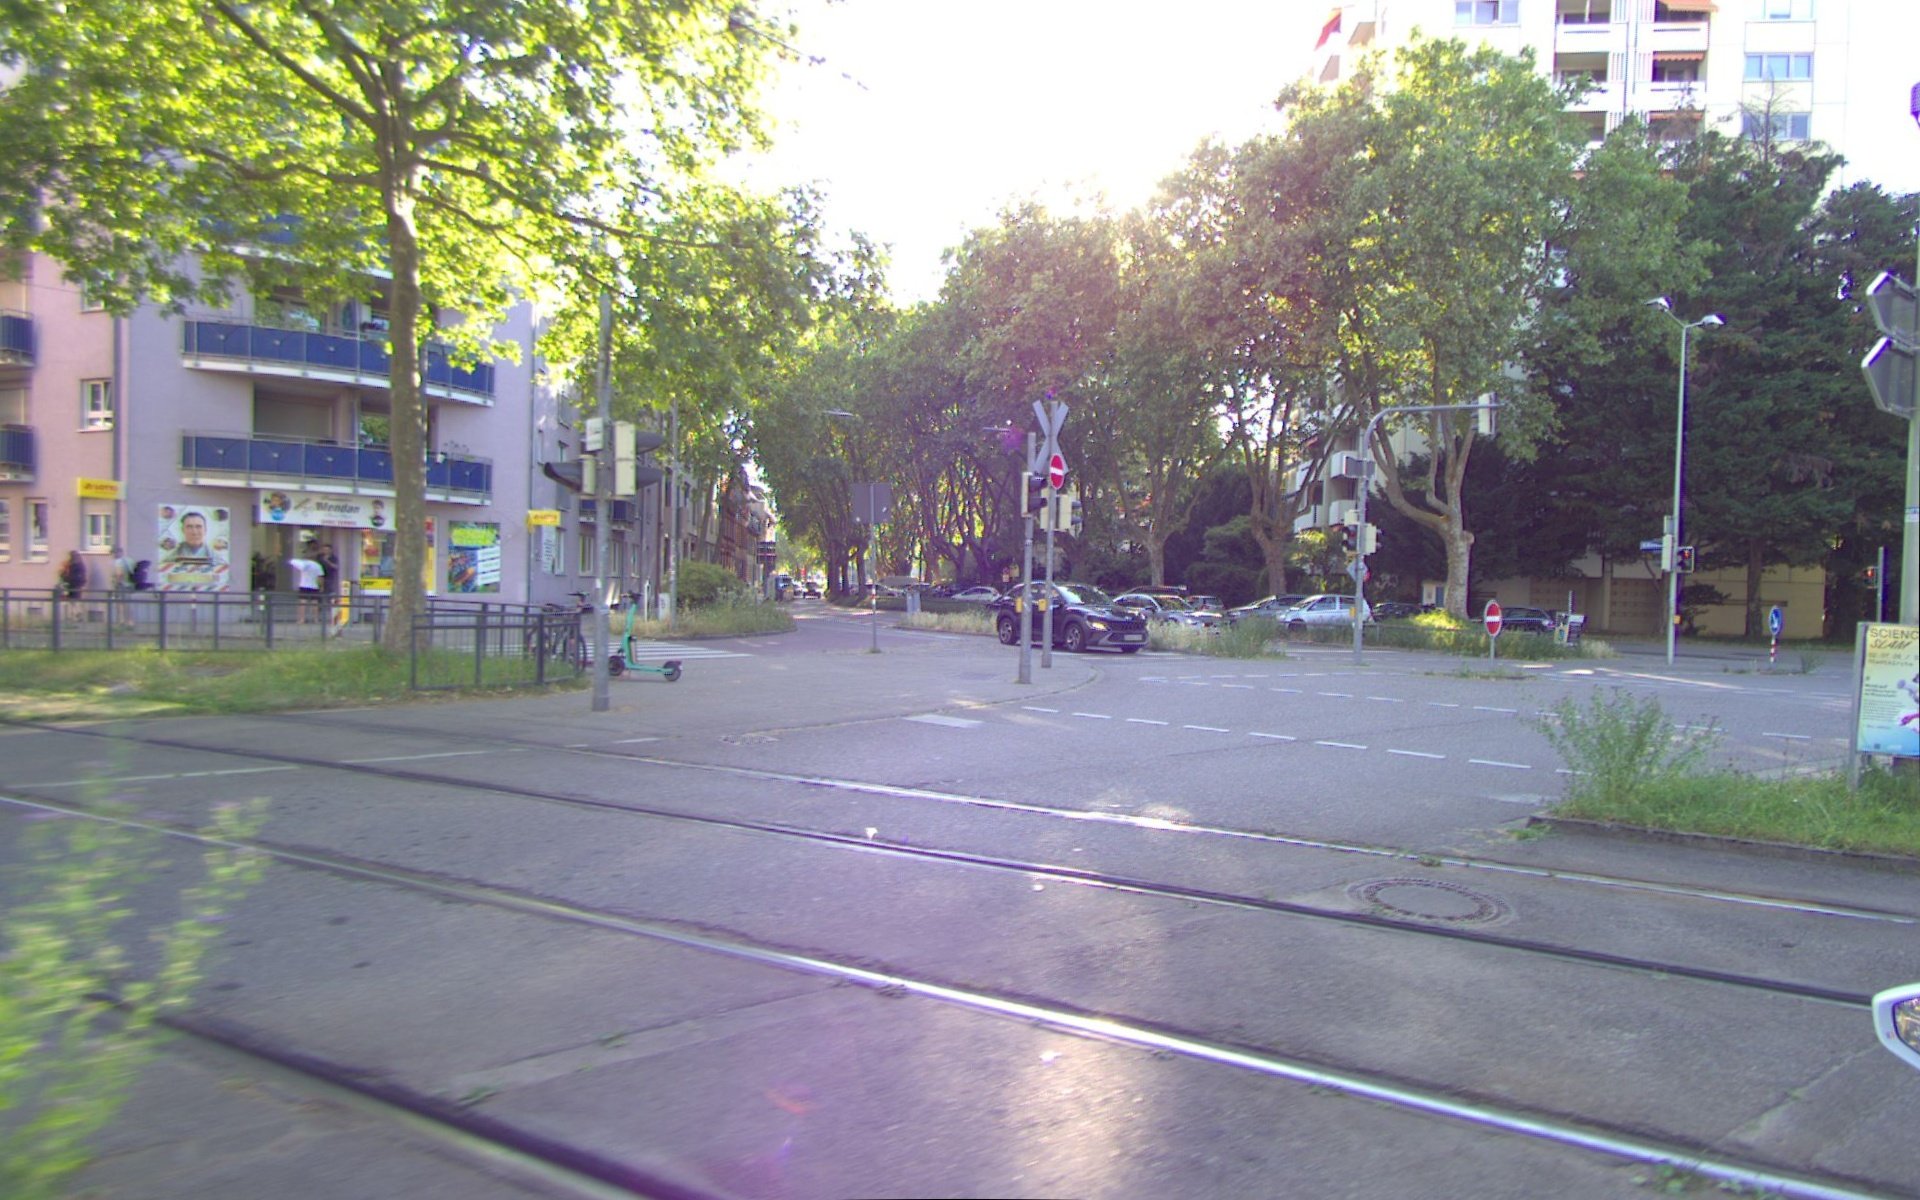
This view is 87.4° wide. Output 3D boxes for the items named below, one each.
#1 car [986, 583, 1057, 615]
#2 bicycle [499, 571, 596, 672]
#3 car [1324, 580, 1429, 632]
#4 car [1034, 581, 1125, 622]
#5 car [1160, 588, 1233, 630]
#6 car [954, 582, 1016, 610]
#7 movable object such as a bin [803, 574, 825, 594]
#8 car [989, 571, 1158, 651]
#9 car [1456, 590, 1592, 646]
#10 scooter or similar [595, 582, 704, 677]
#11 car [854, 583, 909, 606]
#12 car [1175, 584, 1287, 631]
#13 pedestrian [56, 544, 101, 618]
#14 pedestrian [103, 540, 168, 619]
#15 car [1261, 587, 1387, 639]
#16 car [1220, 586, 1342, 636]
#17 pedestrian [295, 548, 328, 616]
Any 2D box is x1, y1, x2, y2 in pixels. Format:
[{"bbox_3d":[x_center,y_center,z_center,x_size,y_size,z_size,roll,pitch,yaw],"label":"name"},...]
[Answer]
[{"bbox_3d":[3.517,-0.054,57.643,3.920,1.617,1.739,3,1,3],"label":"car"},{"bbox_3d":[-5.925,0.283,14.372,1.812,1.324,0.382,3,2,37],"label":"bicycle"},{"bbox_3d":[17.827,0.217,43.181,1.969,2.040,3.982,2,1,-19],"label":"car"},{"bbox_3d":[5.330,0.060,45.212,3.920,1.617,1.739,3,1,3],"label":"car"},{"bbox_3d":[12.737,0.444,54.266,1.969,2.040,3.982,2,1,-19],"label":"car"},{"bbox_3d":[1.647,-0.275,65.680,3.920,1.617,1.739,3,1,3],"label":"car"},{"bbox_3d":[-15.773,-1.731,108.344,1.965,2.040,3.990,2,1,-12],"label":"movable object such as a bin"},{"bbox_3d":[2.504,0.200,23.088,1.720,1.617,3.963,2,1,-33],"label":"car"},{"bbox_3d":[20.582,0.610,36.837,1.969,1.798,3.982,2,1,-19],"label":"car"},{"bbox_3d":[-4.404,0.402,14.244,1.412,1.255,0.414,3,1,12],"label":"scooter or similar"},{"bbox_3d":[-6.116,-0.424,78.625,3.919,1.617,1.739,3,1,13],"label":"car"},{"bbox_3d":[10.614,0.269,39.492,3.920,1.617,1.739,3,1,3],"label":"car"},{"bbox_3d":[-20.666,-0.437,23.552,0.608,1.689,0.551,3,1,20],"label":"pedestrian"},{"bbox_3d":[-18.446,-0.458,22.492,0.607,1.689,0.926,2,1,7],"label":"pedestrian"},{"bbox_3d":[12.645,0.435,35.073,3.731,1.617,1.739,3,1,3],"label":"car"},{"bbox_3d":[11.814,0.372,37.175,3.920,1.617,1.739,3,1,3],"label":"car"},{"bbox_3d":[-16.447,-0.447,25.474,0.611,1.689,0.548,3,2,41],"label":"pedestrian"}]
